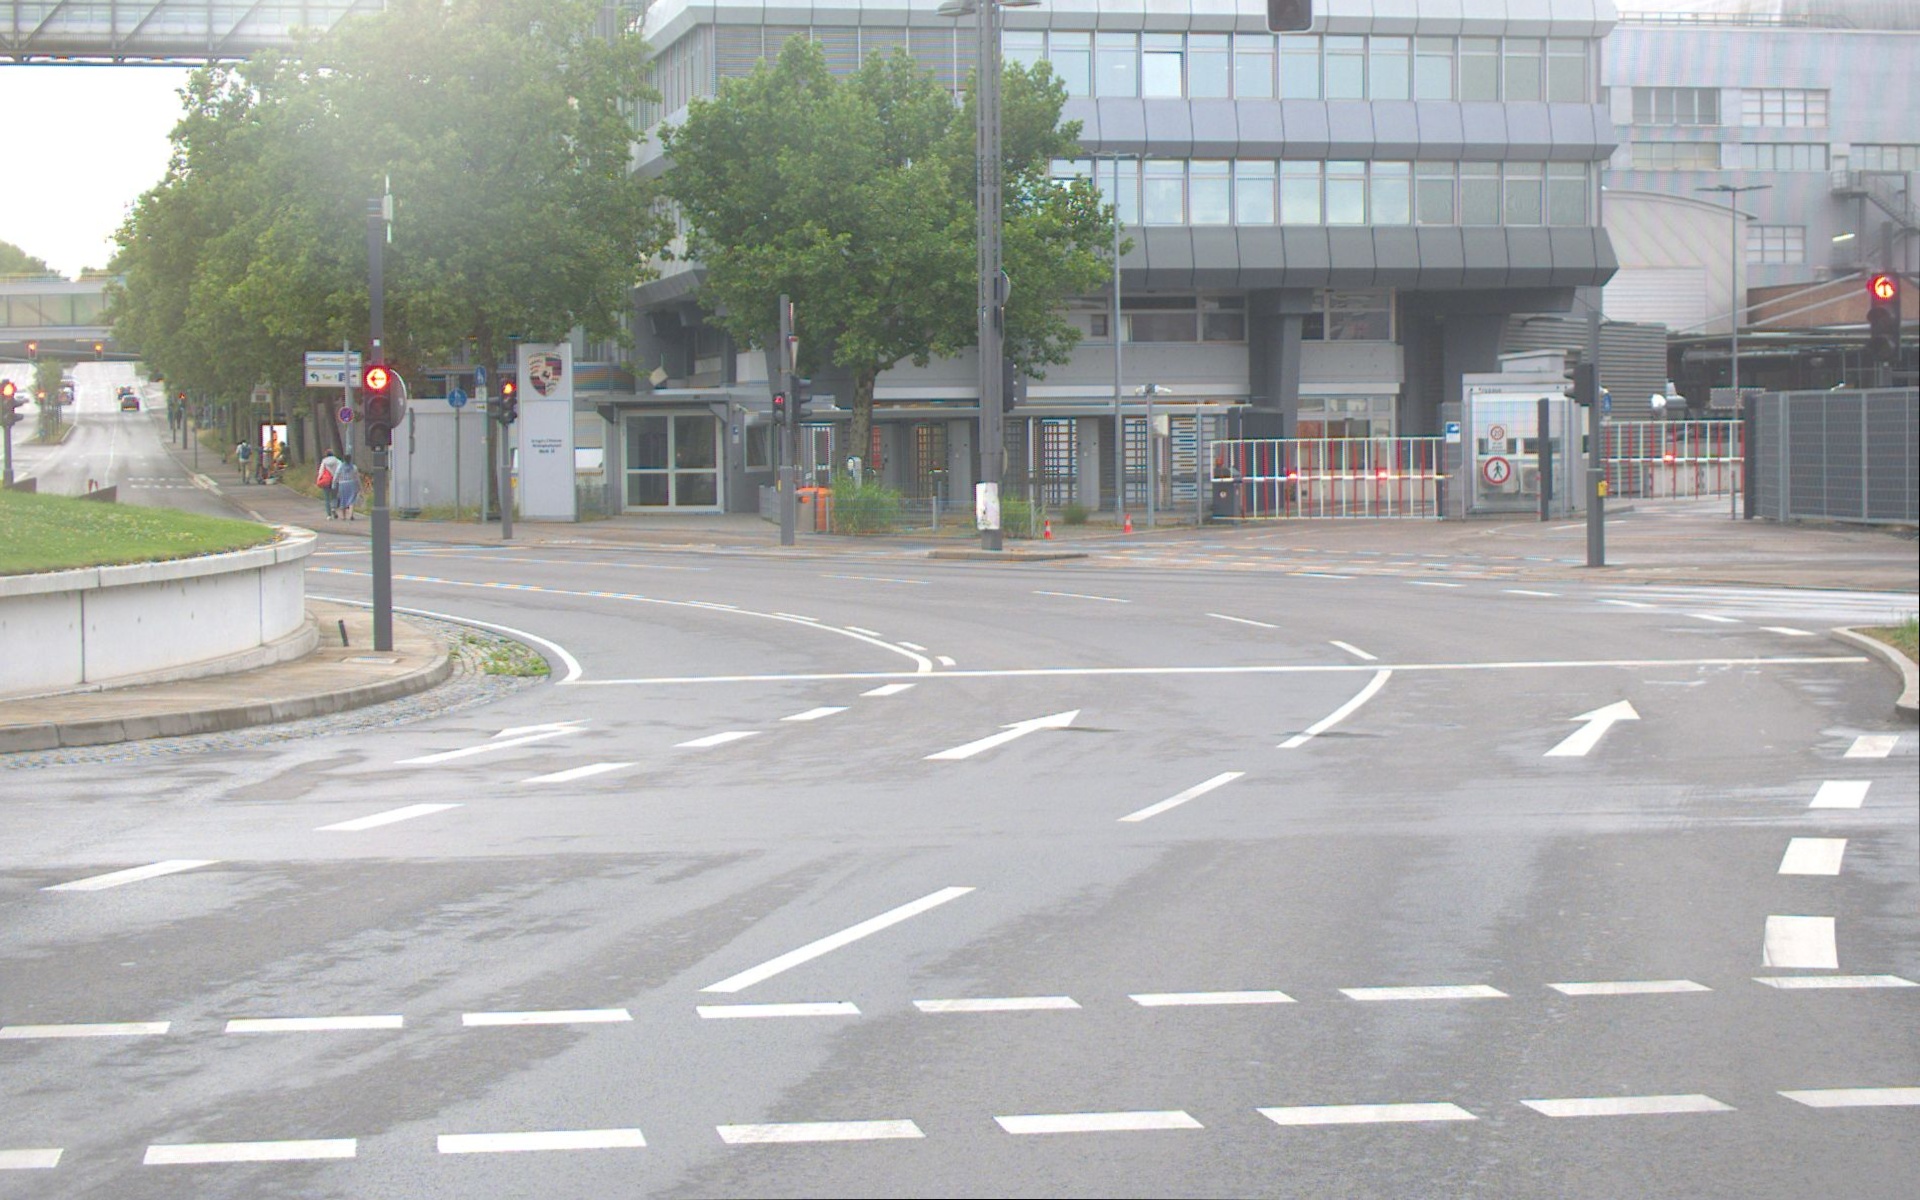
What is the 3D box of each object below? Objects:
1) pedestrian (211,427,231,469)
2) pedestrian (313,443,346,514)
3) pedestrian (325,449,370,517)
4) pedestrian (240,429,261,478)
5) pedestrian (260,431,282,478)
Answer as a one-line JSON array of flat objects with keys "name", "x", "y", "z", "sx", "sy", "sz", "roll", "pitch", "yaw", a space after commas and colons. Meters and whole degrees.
[{"name": "pedestrian", "x": -35.671, "y": -7.350, "z": 165.917, "sx": 0.765, "sy": 2.006, "sz": 0.692, "roll": 0, "pitch": 2, "yaw": 3}, {"name": "pedestrian", "x": -14.451, "y": -2.794, "z": 78.814, "sx": 0.709, "sy": 1.586, "sz": 0.841, "roll": -1, "pitch": 3, "yaw": -9}, {"name": "pedestrian", "x": -13.809, "y": -2.647, "z": 77.500, "sx": 0.831, "sy": 1.515, "sz": 0.842, "roll": -2, "pitch": 3, "yaw": -22}, {"name": "pedestrian", "x": -25.805, "y": -5.330, "z": 125.047, "sx": 0.711, "sy": 1.734, "sz": 0.760, "roll": 1, "pitch": 0, "yaw": -14}, {"name": "pedestrian", "x": -26.089, "y": -5.517, "z": 130.175, "sx": 0.757, "sy": 1.734, "sz": 0.714, "roll": 1, "pitch": 0, "yaw": -10}]
